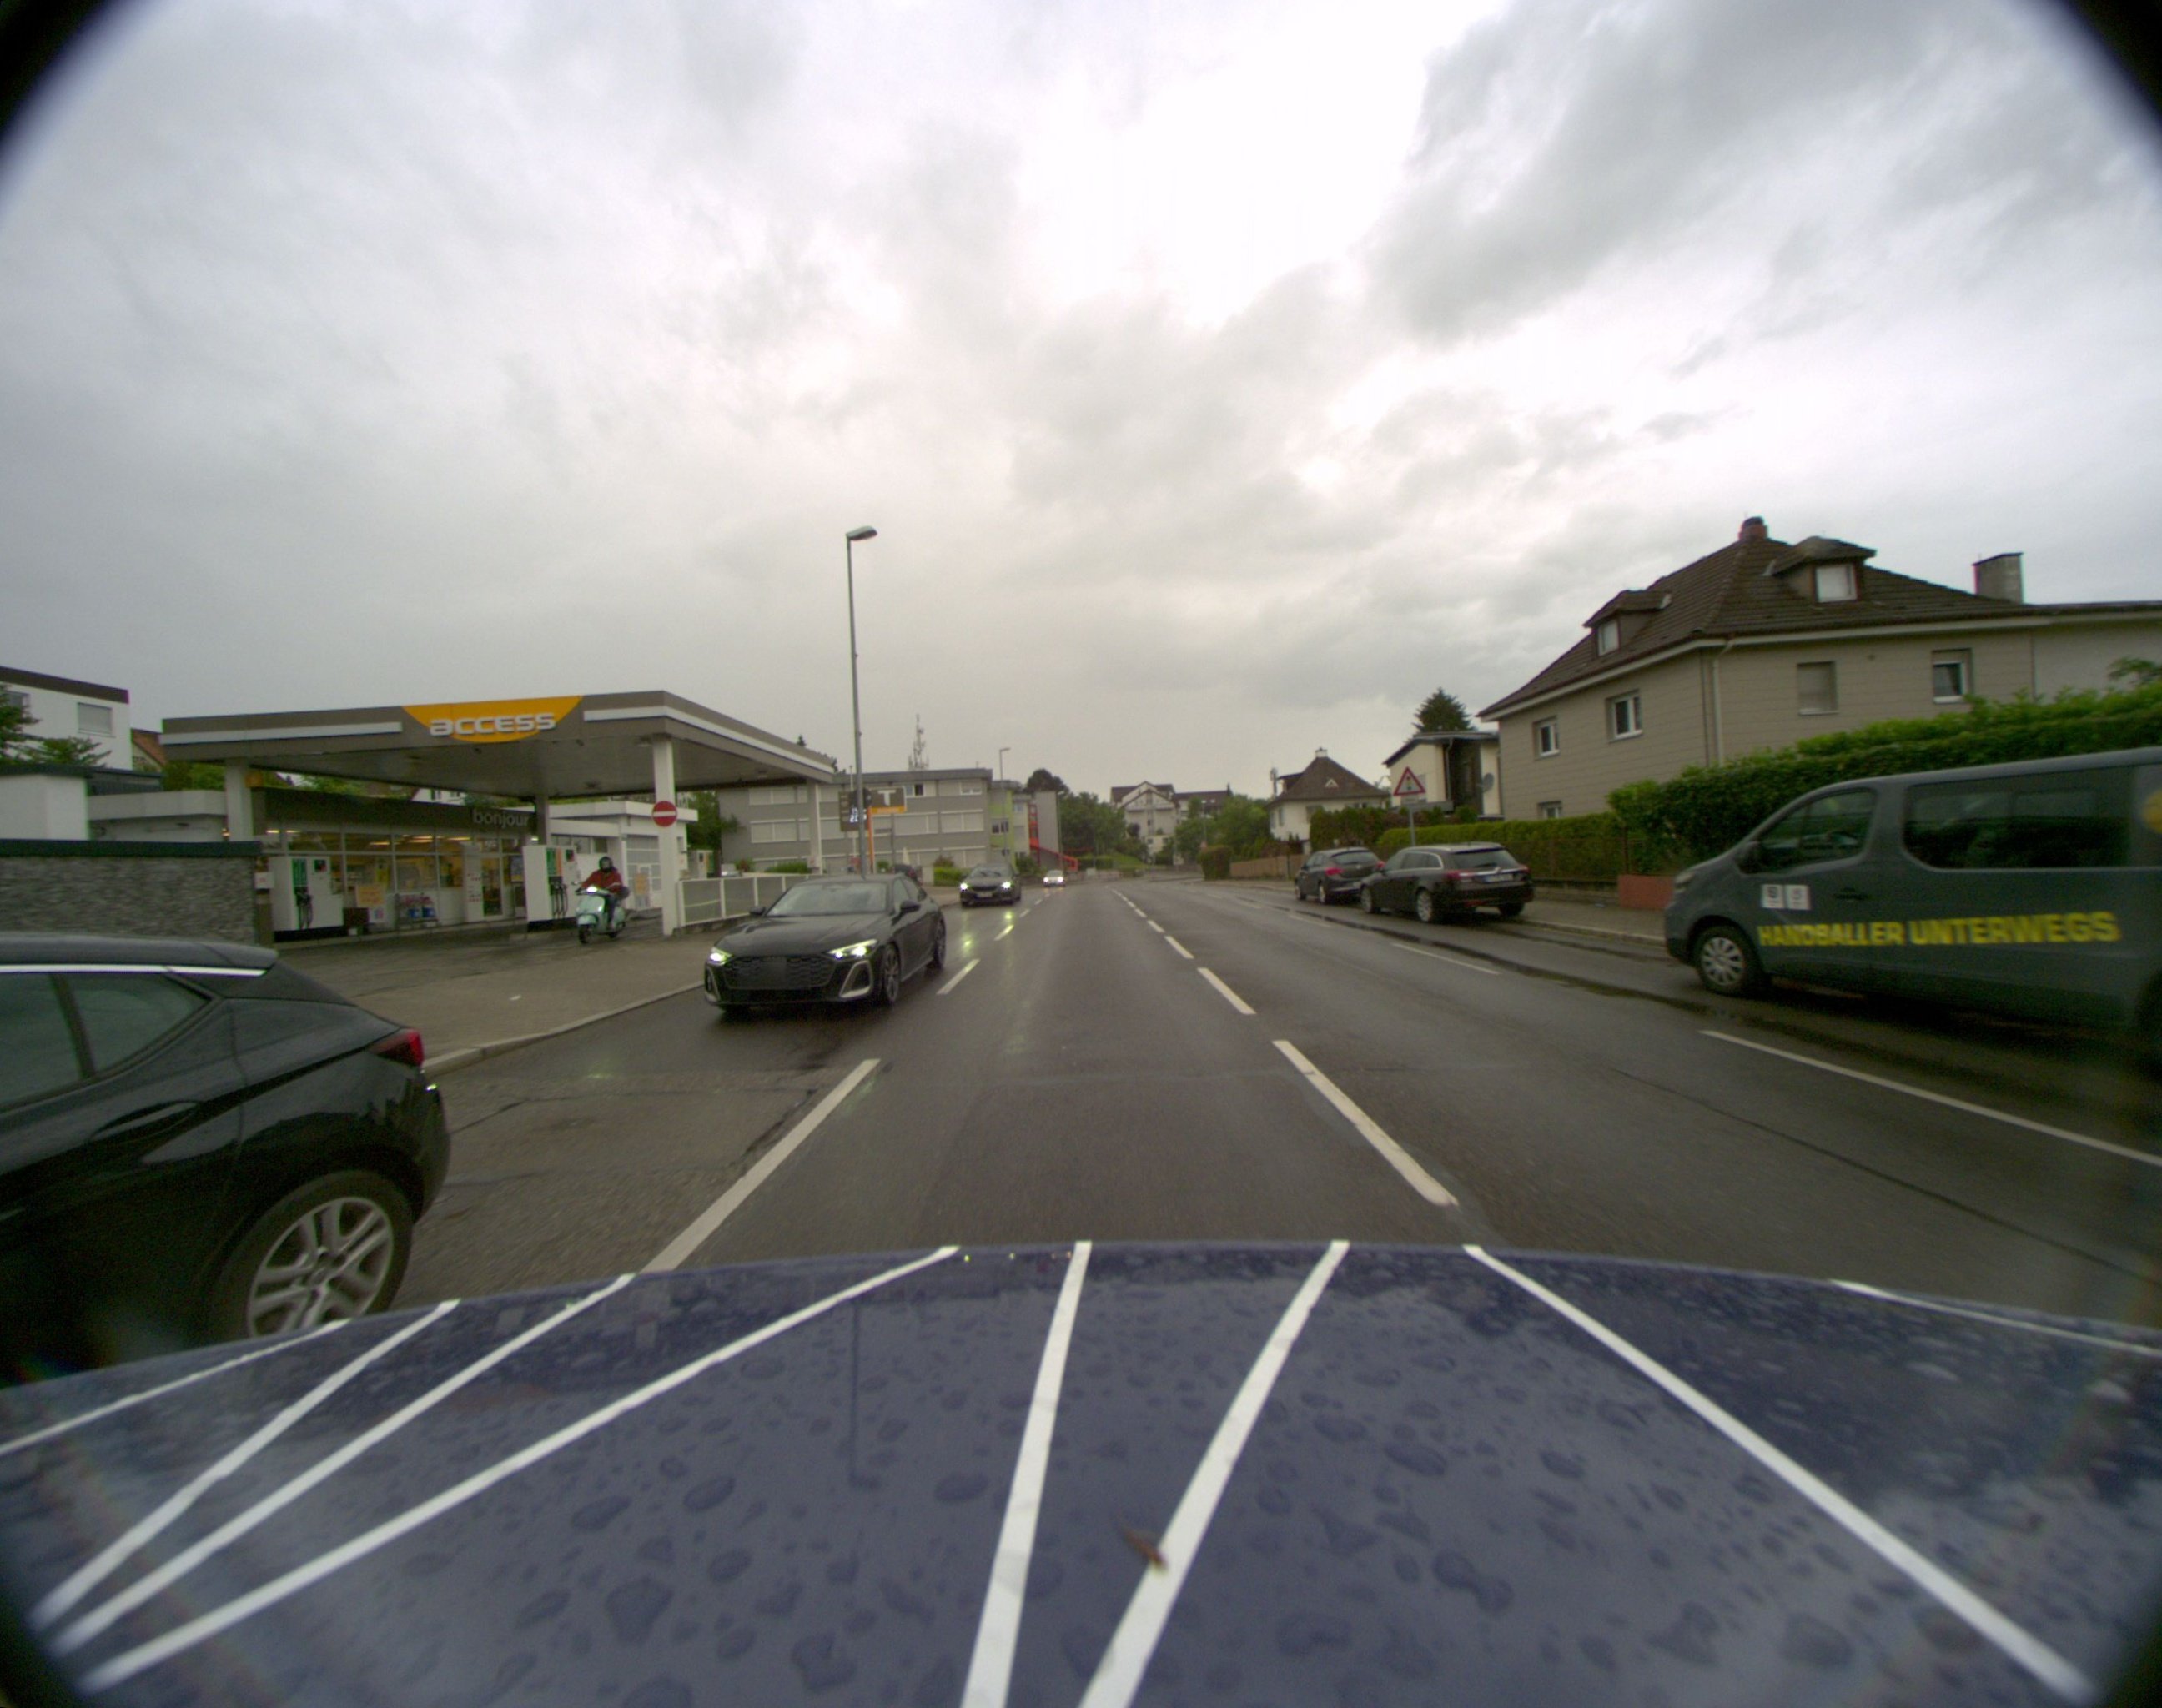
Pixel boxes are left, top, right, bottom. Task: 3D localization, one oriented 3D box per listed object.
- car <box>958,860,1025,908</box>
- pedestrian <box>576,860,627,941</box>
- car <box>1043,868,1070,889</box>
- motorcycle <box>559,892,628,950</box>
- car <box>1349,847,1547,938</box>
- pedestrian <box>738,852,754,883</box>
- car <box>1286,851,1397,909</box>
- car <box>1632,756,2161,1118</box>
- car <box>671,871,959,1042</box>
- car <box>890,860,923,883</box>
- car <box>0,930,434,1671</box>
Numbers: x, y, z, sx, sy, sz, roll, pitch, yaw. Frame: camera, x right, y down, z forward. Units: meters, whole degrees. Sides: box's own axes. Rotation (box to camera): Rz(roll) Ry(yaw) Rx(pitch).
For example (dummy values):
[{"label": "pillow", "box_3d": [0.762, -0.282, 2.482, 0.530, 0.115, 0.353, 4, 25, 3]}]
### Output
[{"label": "car", "box_3d": [-3.214, 1.044, 28.051, 1.872, 1.510, 4.000, -3, 0, 1]}, {"label": "pedestrian", "box_3d": [-10.146, 0.967, 16.078, 0.611, 1.646, 0.585, -3, 1, 1]}, {"label": "car", "box_3d": [-2.165, 2.138, 68.444, 1.998, 1.647, 4.001, -3, 0, 4]}, {"label": "motorcycle", "box_3d": [-10.103, 1.367, 15.800, 0.463, 1.049, 1.390, -3, 1, 1]}, {"label": "car", "box_3d": [7.262, 0.669, 15.645, 1.755, 1.508, 4.527, -3, 0, -1]}, {"label": "pedestrian", "box_3d": [-22.246, 0.866, 50.449, 0.718, 2.002, 0.614, -3, 1, -9]}, {"label": "car", "box_3d": [7.365, 0.672, 21.925, 1.754, 1.431, 4.129, -3, 0, 1]}, {"label": "car", "box_3d": [6.845, 0.413, 5.466, 1.918, 1.991, 5.086, -3, 0, -1]}, {"label": "car", "box_3d": [-2.917, 1.032, 9.625, 1.871, 1.416, 4.739, -3, 0, 1]}, {"label": "car", "box_3d": [-12.368, 1.223, 54.093, 1.815, 1.518, 3.997, 1, 0, -7]}, {"label": "car", "box_3d": [-3.188, 1.026, 0.628, 1.760, 1.441, 4.000, -2, 0, 1]}]
